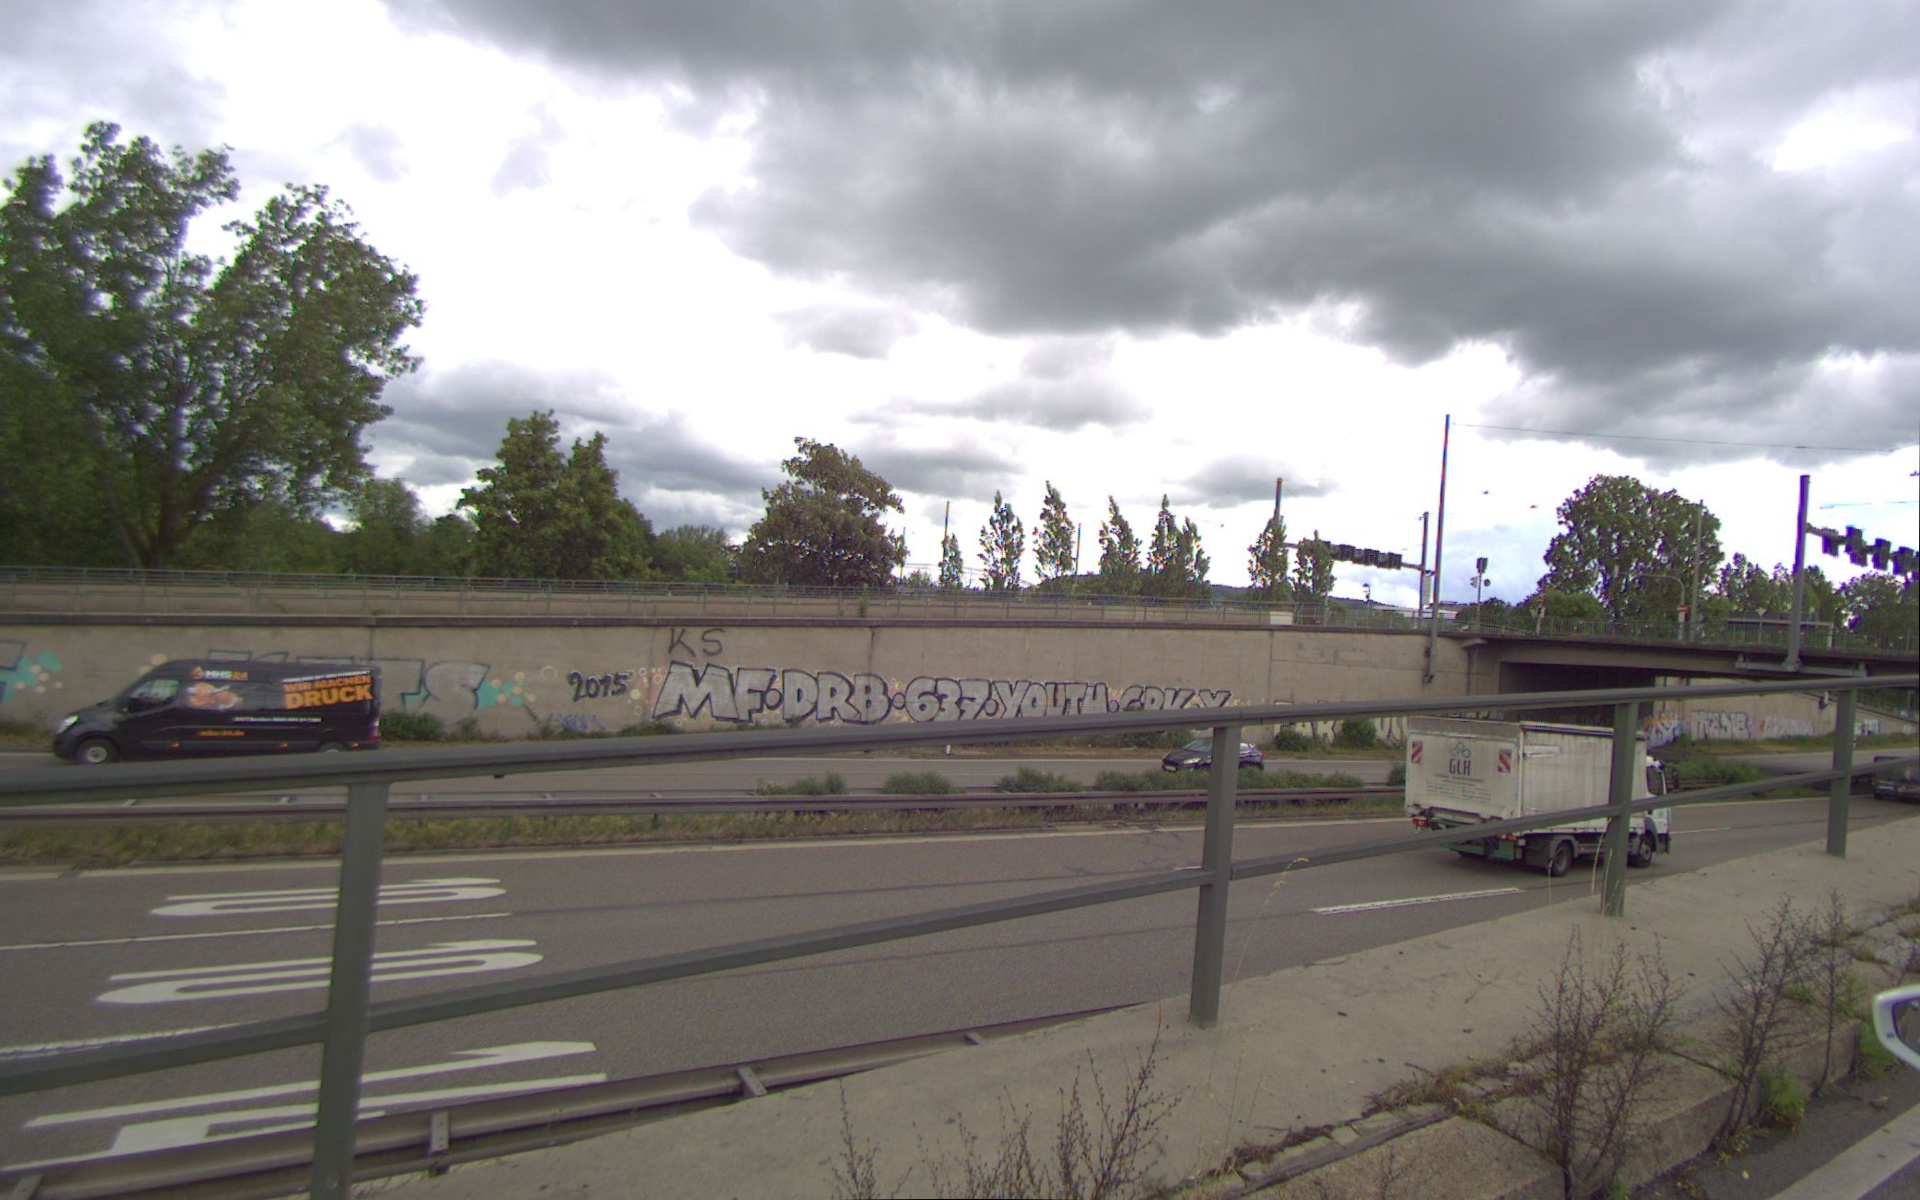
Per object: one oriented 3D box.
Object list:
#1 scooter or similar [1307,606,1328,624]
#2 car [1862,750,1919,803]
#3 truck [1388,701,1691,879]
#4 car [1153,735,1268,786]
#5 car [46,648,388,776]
[{"bbox_3d":[22.565,0.951,63.422,1.403,1.108,0.539,4,-2,-37],"label":"scooter or similar"},{"bbox_3d":[42.957,7.915,45.362,4.903,2.028,1.889,5,-2,-30],"label":"car"},{"bbox_3d":[13.440,4.195,23.103,7.357,3.335,2.733,5,-4,-30],"label":"truck"},{"bbox_3d":[8.778,5.620,35.136,3.815,1.520,1.656,6,-4,-30],"label":"car"},{"bbox_3d":[-16.997,2.632,23.560,6.047,2.580,2.232,5,-2,-31],"label":"car"}]
